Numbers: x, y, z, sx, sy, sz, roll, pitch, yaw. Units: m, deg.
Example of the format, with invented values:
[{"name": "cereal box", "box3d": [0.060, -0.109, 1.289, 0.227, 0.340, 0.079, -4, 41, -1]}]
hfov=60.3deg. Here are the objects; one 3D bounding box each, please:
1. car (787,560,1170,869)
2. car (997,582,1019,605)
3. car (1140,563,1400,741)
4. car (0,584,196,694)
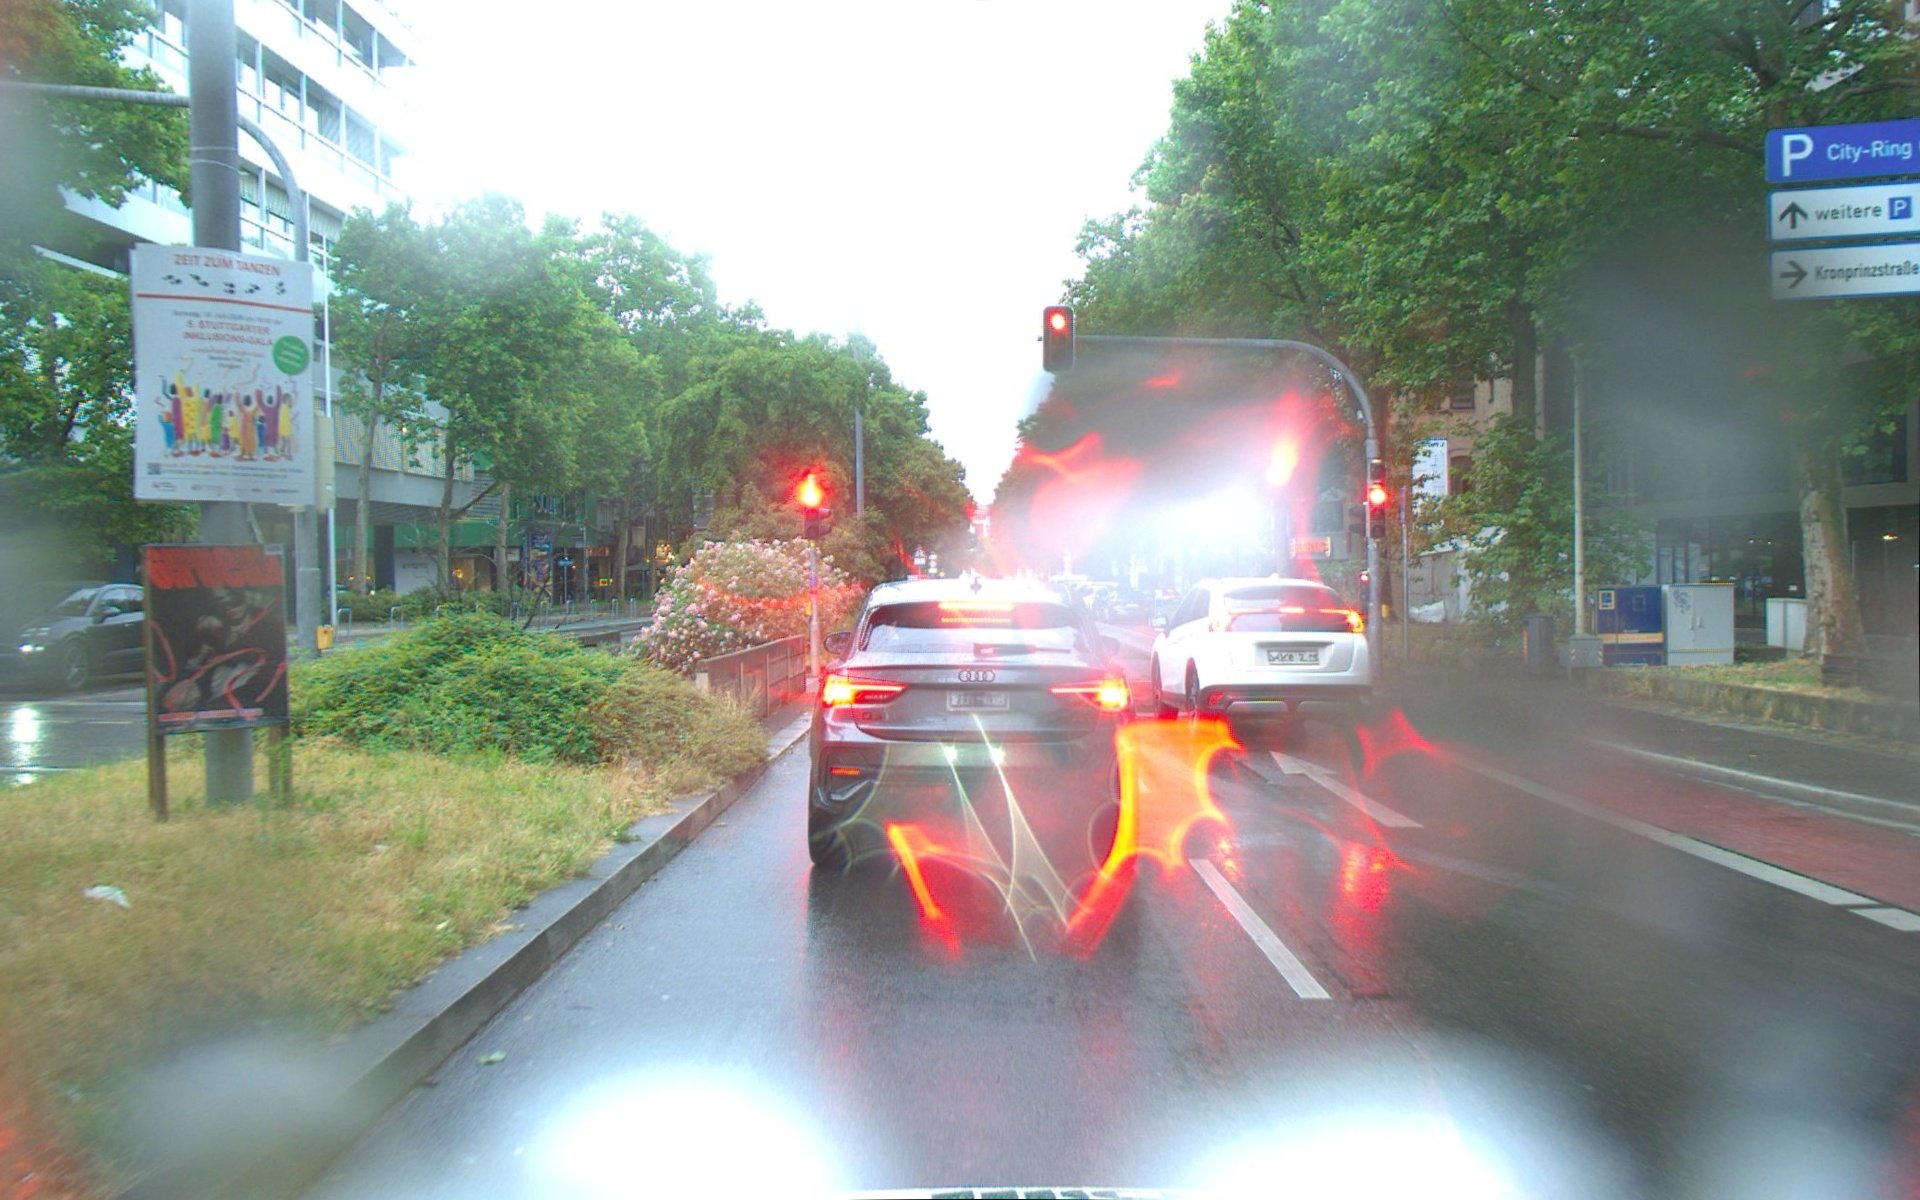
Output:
[{"name": "car", "box3d": [0.094, 0.519, 10.139, 1.879, 1.517, 4.000, 0, 1, 0]}, {"name": "car", "box3d": [3.724, -0.494, 128.554, 1.587, 1.695, 4.000, -1, 1, 0]}, {"name": "car", "box3d": [3.241, 0.468, 18.304, 1.953, 1.684, 4.889, 0, 1, 0]}, {"name": "car", "box3d": [-13.948, 0.541, 26.006, 1.792, 1.579, 4.190, 0, 1, 2]}]
